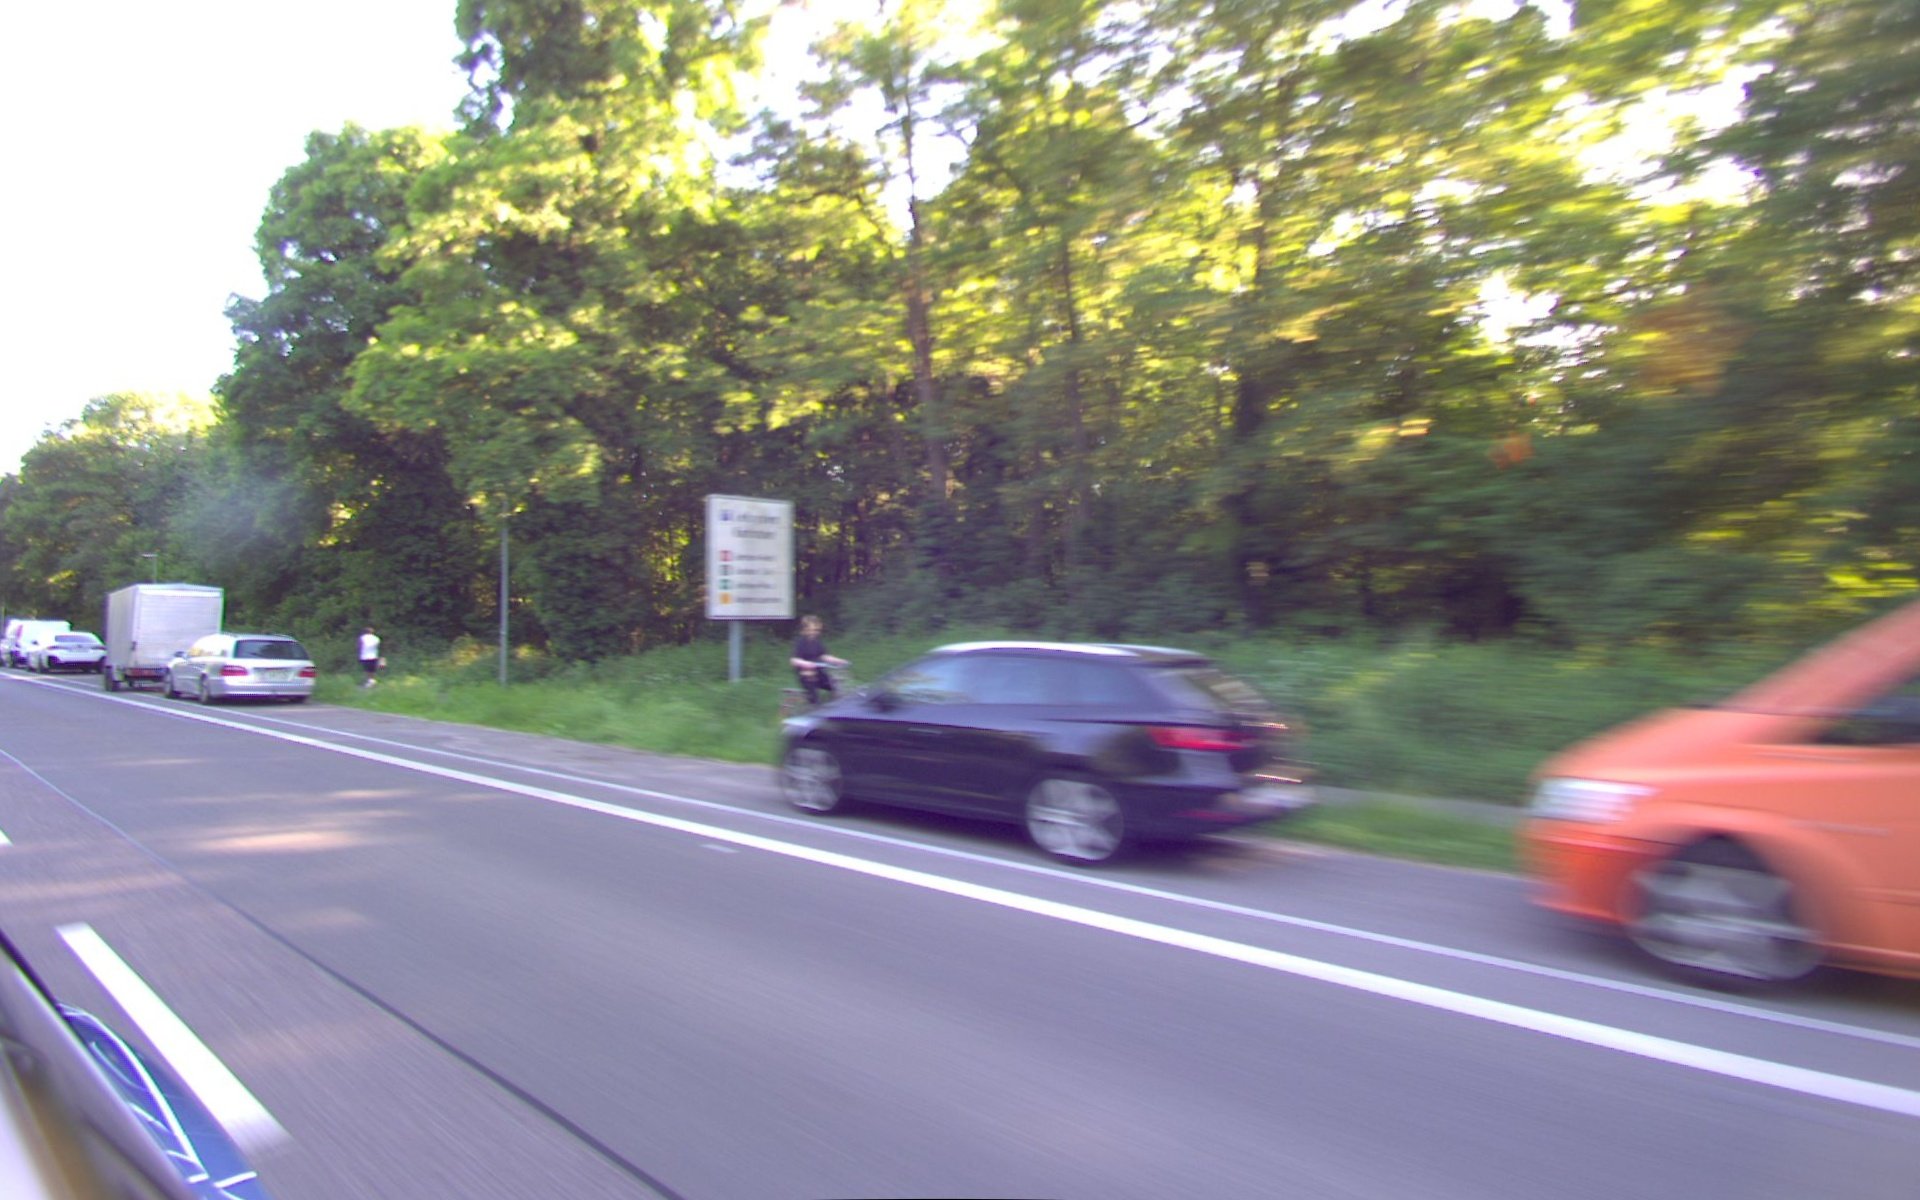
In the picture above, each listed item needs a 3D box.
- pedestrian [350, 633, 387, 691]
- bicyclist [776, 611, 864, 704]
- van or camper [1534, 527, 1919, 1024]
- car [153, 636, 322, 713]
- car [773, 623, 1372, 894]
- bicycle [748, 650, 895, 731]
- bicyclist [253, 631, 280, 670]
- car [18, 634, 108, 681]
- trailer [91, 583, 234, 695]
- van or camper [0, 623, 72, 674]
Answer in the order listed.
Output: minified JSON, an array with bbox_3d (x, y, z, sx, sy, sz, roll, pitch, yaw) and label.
[{"bbox_3d":[-16.509,1.723,28.258,0.700,1.579,0.706,-2,-2,41],"label":"pedestrian"},{"bbox_3d":[-1.938,0.779,13.977,1.023,1.231,0.691,-2,-2,41],"label":"bicyclist"},{"bbox_3d":[5.121,0.673,3.808,4.861,1.881,1.902,-2,-4,41],"label":"van or camper"},{"bbox_3d":[-15.393,1.518,21.473,4.621,1.465,1.779,-2,-4,40],"label":"car"},{"bbox_3d":[0.622,0.957,7.675,4.322,1.489,1.713,-2,-4,41],"label":"car"},{"bbox_3d":[-1.951,1.211,13.957,2.282,0.994,0.689,-2,-2,41],"label":"bicycle"},{"bbox_3d":[-22.399,1.617,32.690,0.973,1.244,0.482,-2,-2,41],"label":"bicyclist"},{"bbox_3d":[-31.805,2.012,35.839,4.521,1.552,1.756,-2,-4,41],"label":"car"},{"bbox_3d":[-20.387,1.012,25.812,4.413,2.617,1.973,-2,-4,41],"label":"trailer"},{"bbox_3d":[-37.274,1.934,40.541,4.852,1.926,1.817,-2,-3,40],"label":"van or camper"}]
